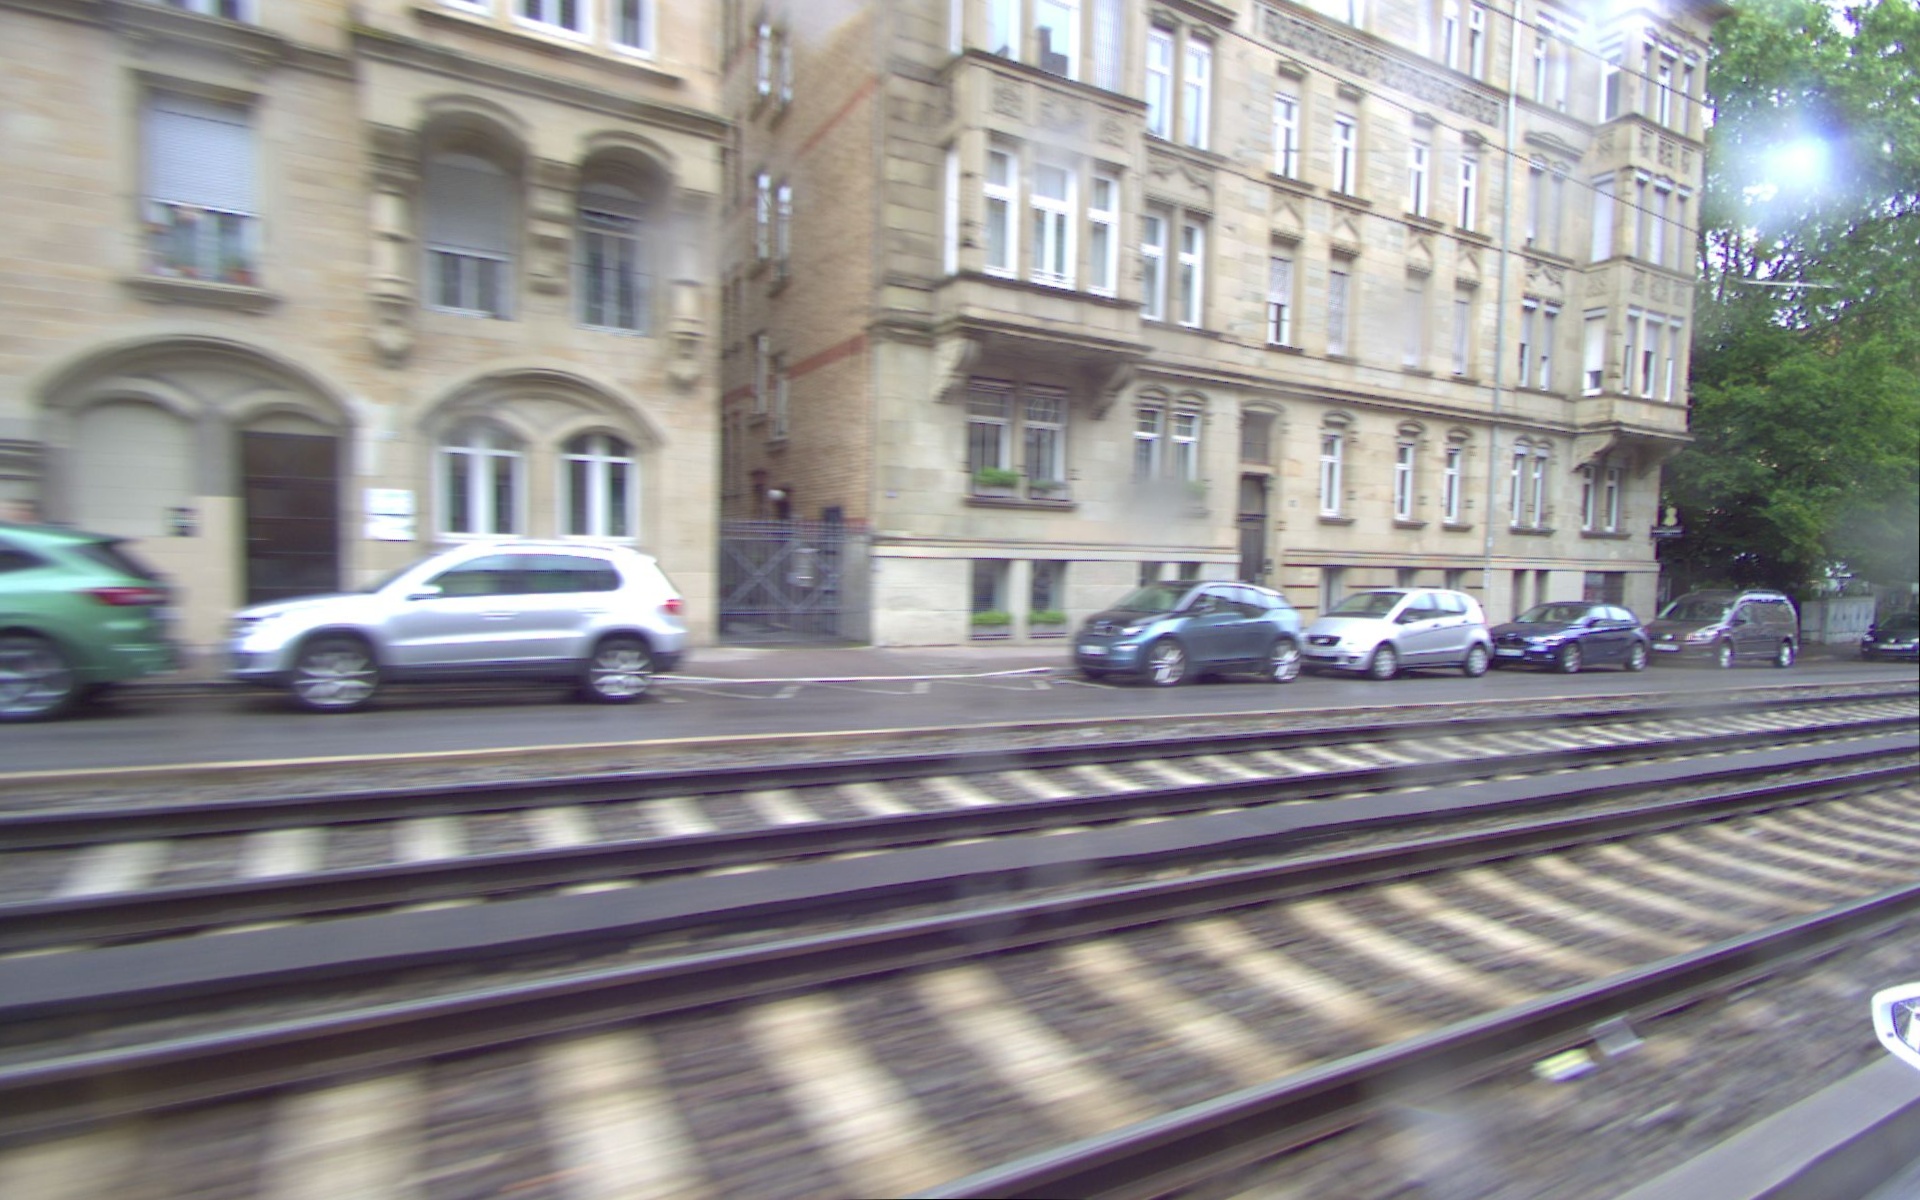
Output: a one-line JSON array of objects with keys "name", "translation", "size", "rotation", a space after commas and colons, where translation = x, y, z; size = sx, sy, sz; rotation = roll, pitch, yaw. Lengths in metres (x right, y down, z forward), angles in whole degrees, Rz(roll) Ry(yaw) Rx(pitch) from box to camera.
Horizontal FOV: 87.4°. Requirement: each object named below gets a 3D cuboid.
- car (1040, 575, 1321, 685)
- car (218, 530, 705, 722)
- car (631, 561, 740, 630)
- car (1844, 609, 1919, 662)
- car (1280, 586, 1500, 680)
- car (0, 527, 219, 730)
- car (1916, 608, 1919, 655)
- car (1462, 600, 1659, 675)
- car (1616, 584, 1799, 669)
[{"name": "car", "translation": [3.484, 0.436, 15.753], "size": [4.120, 1.528, 1.861], "rotation": [1, 1, -30]}, {"name": "car", "translation": [-5.079, 0.247, 10.633], "size": [4.266, 1.674, 1.849], "rotation": [1, 1, -31]}, {"name": "car", "translation": [-6.426, -0.141, 23.270], "size": [1.709, 1.458, 3.601], "rotation": [1, 2, -27]}, {"name": "car", "translation": [28.799, 1.055, 30.403], "size": [4.499, 1.483, 1.839], "rotation": [1, -1, -32]}, {"name": "car", "translation": [7.780, 0.565, 18.141], "size": [3.808, 1.544, 1.687], "rotation": [1, 0, -30]}, {"name": "car", "translation": [-9.032, 0.193, 8.334], "size": [4.374, 1.623, 1.851], "rotation": [1, 1, -28]}, {"name": "car", "translation": [33.665, 1.067, 33.295], "size": [4.490, 1.557, 1.745], "rotation": [1, 0, -31]}, {"name": "car", "translation": [12.590, 0.756, 21.004], "size": [4.221, 1.417, 1.753], "rotation": [1, 0, -31]}, {"name": "car", "translation": [18.013, 0.612, 24.167], "size": [4.761, 1.871, 1.792], "rotation": [1, 0, -30]}]
